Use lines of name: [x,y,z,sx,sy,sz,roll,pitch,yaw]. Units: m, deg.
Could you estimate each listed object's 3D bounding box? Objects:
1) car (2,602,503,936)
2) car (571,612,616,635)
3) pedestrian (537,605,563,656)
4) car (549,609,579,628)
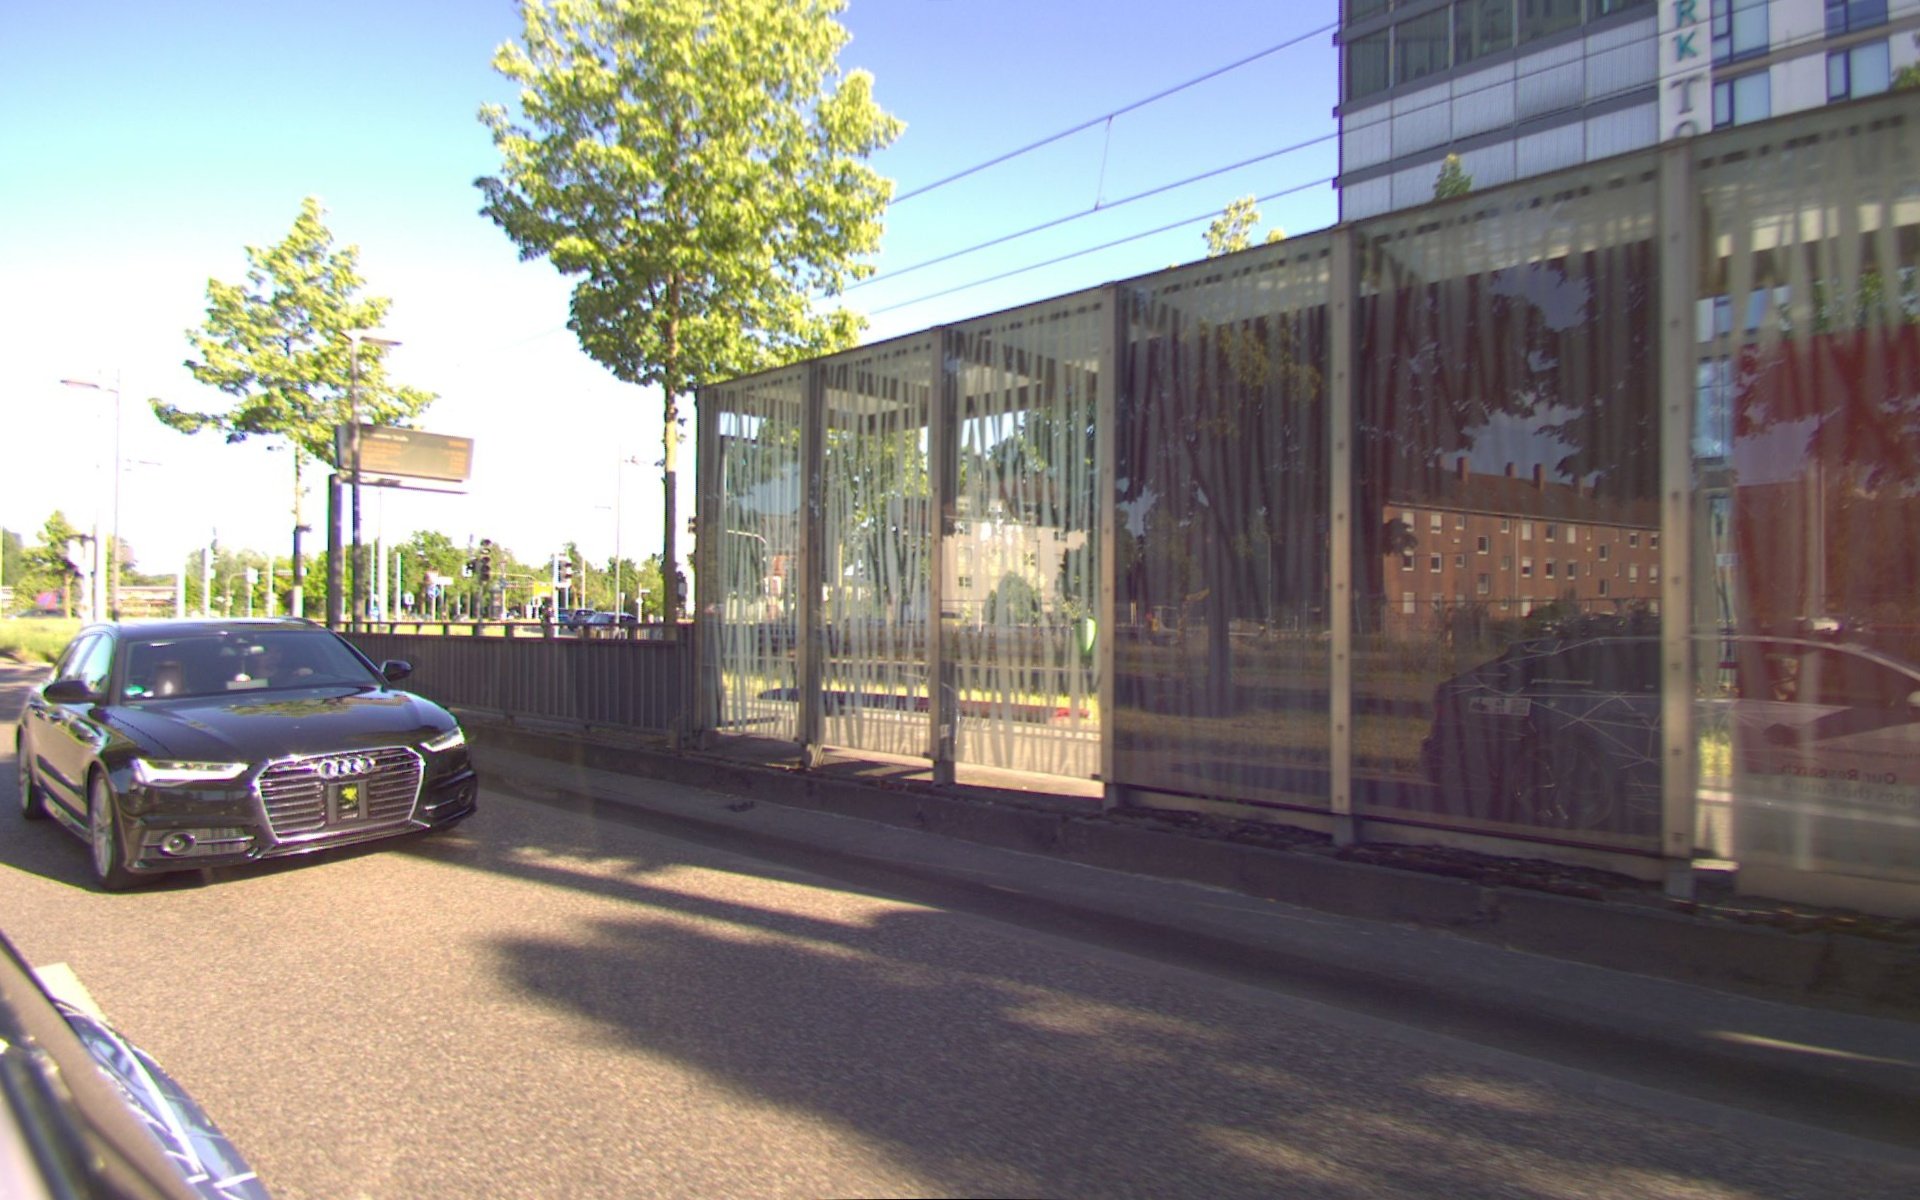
car: [-5.015,0.802,6.868,4.599,1.538,1.765,-1,0,41]
car: [-23.597,1.508,65.239,1.641,1.406,3.613,0,-1,-1]
pedestrian: [-13.217,0.969,32.601,0.810,1.590,0.413,1,0,38]
car: [-29.893,1.372,76.442,1.637,1.274,3.631,1,0,-13]
